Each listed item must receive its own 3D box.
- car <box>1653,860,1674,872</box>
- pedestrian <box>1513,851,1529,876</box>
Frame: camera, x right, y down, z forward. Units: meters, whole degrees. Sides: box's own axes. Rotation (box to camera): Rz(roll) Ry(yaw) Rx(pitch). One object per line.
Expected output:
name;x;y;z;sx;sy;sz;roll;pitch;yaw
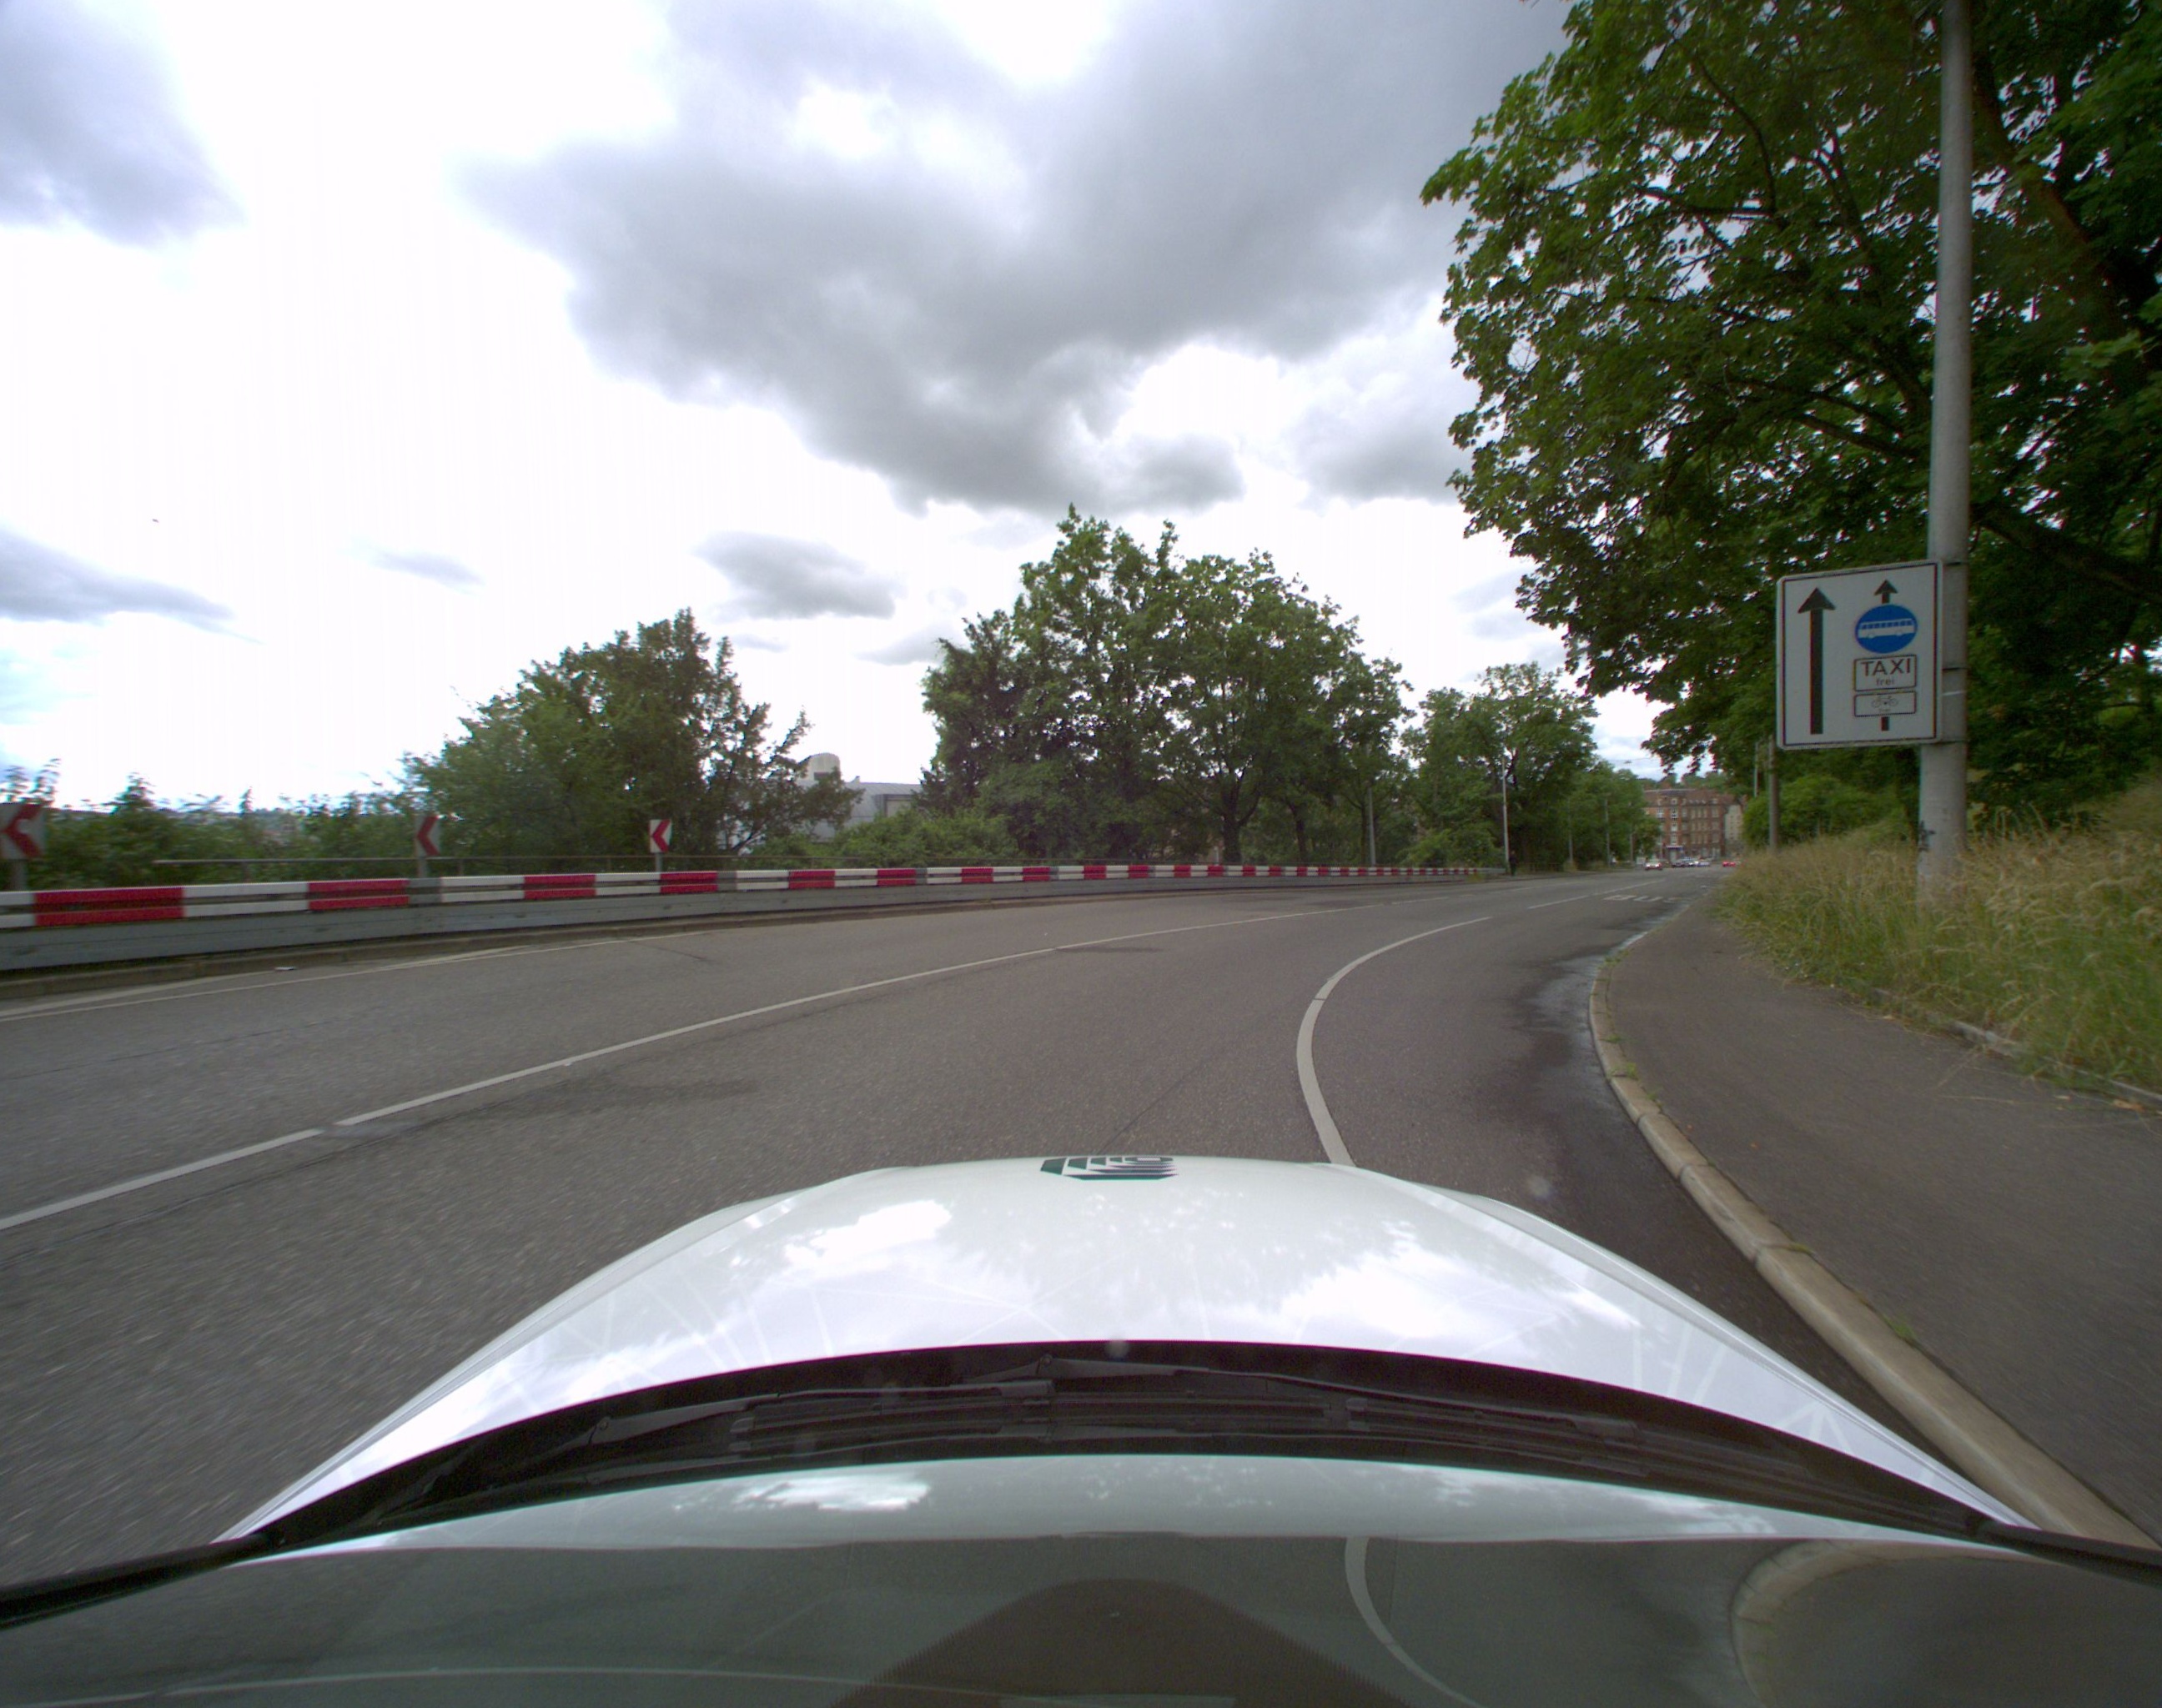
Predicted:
car;75.742;1.554;105.881;1.777;1.427;4.169;-2;-1;41
pedestrian;31.190;0.665;57.734;0.781;1.774;1.216;3;1;38
